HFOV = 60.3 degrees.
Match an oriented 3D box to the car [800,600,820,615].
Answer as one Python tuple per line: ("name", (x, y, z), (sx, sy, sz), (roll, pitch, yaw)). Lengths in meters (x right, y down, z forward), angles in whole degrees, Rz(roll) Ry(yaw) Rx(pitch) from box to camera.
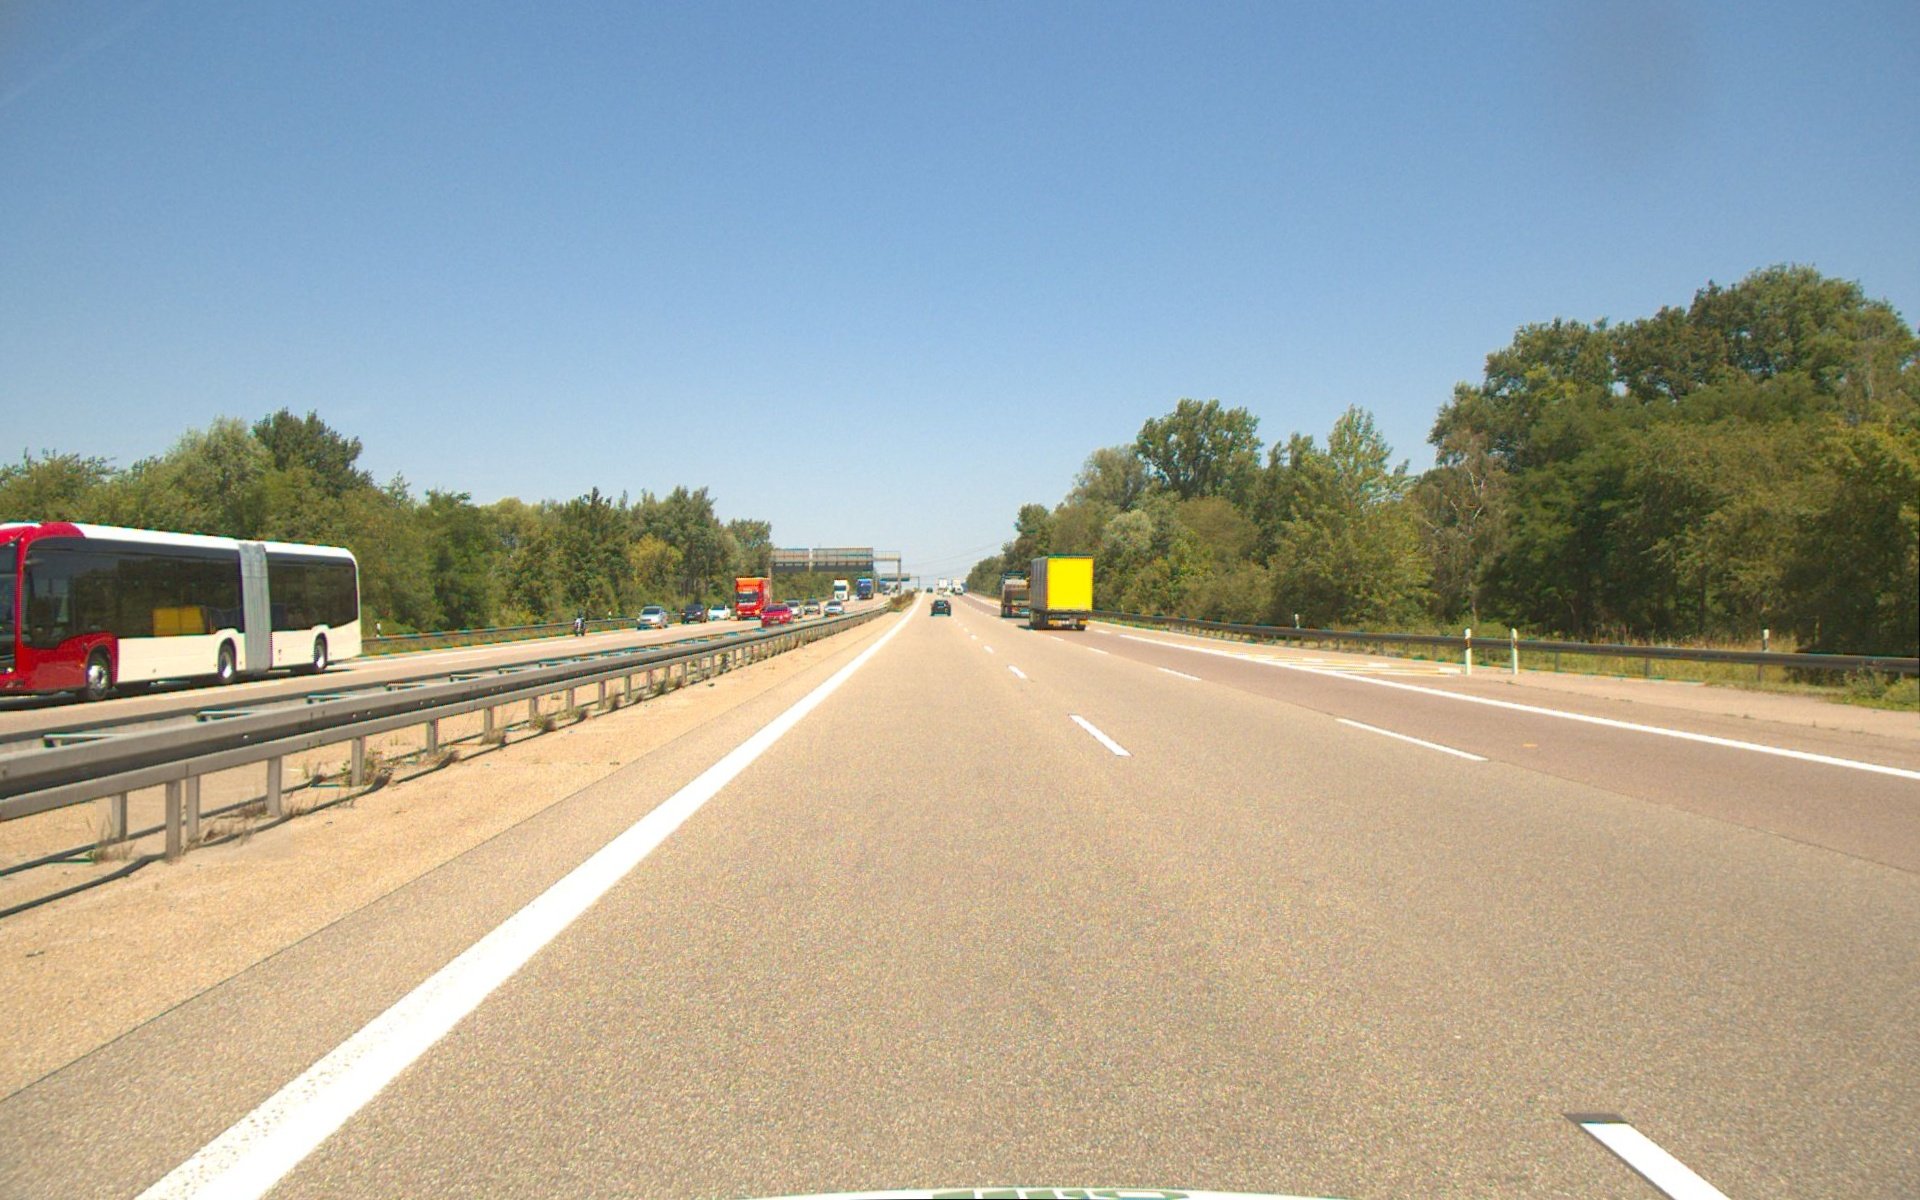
("car", (-16.102, 0.810, 177.751), (1.772, 1.530, 3.999), (-1, 0, -1))

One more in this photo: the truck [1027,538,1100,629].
("truck", (6.035, -0.904, 99.069), (3.308, 4.966, 15.084), (1, 0, 0))

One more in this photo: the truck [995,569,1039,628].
("truck", (4.979, -0.106, 148.448), (3.298, 4.966, 15.084), (1, 0, 0))

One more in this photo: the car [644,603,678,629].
("car", (-21.702, 1.127, 120.068), (1.772, 1.803, 3.999), (-1, 0, -1))

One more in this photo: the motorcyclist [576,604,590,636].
("motorcyclist", (-22.965, 1.216, 100.752), (0.590, 1.904, 0.620), (1, 0, 4))

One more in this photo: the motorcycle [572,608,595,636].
("motorcycle", (-22.954, 1.359, 100.864), (0.602, 1.668, 2.838), (1, 0, 3))

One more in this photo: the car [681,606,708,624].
("car", (-23.212, 1.265, 144.497), (1.772, 1.530, 3.999), (-1, 0, -1))

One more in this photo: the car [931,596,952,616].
("car", (-1.710, 0.524, 150.032), (1.790, 1.736, 3.999), (1, 0, -1))

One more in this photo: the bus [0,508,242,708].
("bus", (-17.786, 0.165, 33.470), (2.707, 3.507, 8.930), (-1, 0, -1))

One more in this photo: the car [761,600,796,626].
("car", (-11.042, 0.775, 100.756), (1.772, 1.530, 3.999), (-1, 0, -1))

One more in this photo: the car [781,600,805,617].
("car", (-15.158, 0.744, 150.332), (1.772, 1.530, 3.999), (-1, 0, -1))

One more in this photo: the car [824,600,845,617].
("car", (-12.043, 0.811, 159.047), (1.772, 1.530, 3.999), (-1, 0, -1))

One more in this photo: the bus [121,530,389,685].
("bus", (-17.936, 0.188, 43.047), (2.707, 3.507, 10.143), (-1, 0, -1))

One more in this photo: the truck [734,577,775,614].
("truck", (-19.318, -0.414, 156.221), (2.545, 3.268, 12.122), (1, 0, -1))
